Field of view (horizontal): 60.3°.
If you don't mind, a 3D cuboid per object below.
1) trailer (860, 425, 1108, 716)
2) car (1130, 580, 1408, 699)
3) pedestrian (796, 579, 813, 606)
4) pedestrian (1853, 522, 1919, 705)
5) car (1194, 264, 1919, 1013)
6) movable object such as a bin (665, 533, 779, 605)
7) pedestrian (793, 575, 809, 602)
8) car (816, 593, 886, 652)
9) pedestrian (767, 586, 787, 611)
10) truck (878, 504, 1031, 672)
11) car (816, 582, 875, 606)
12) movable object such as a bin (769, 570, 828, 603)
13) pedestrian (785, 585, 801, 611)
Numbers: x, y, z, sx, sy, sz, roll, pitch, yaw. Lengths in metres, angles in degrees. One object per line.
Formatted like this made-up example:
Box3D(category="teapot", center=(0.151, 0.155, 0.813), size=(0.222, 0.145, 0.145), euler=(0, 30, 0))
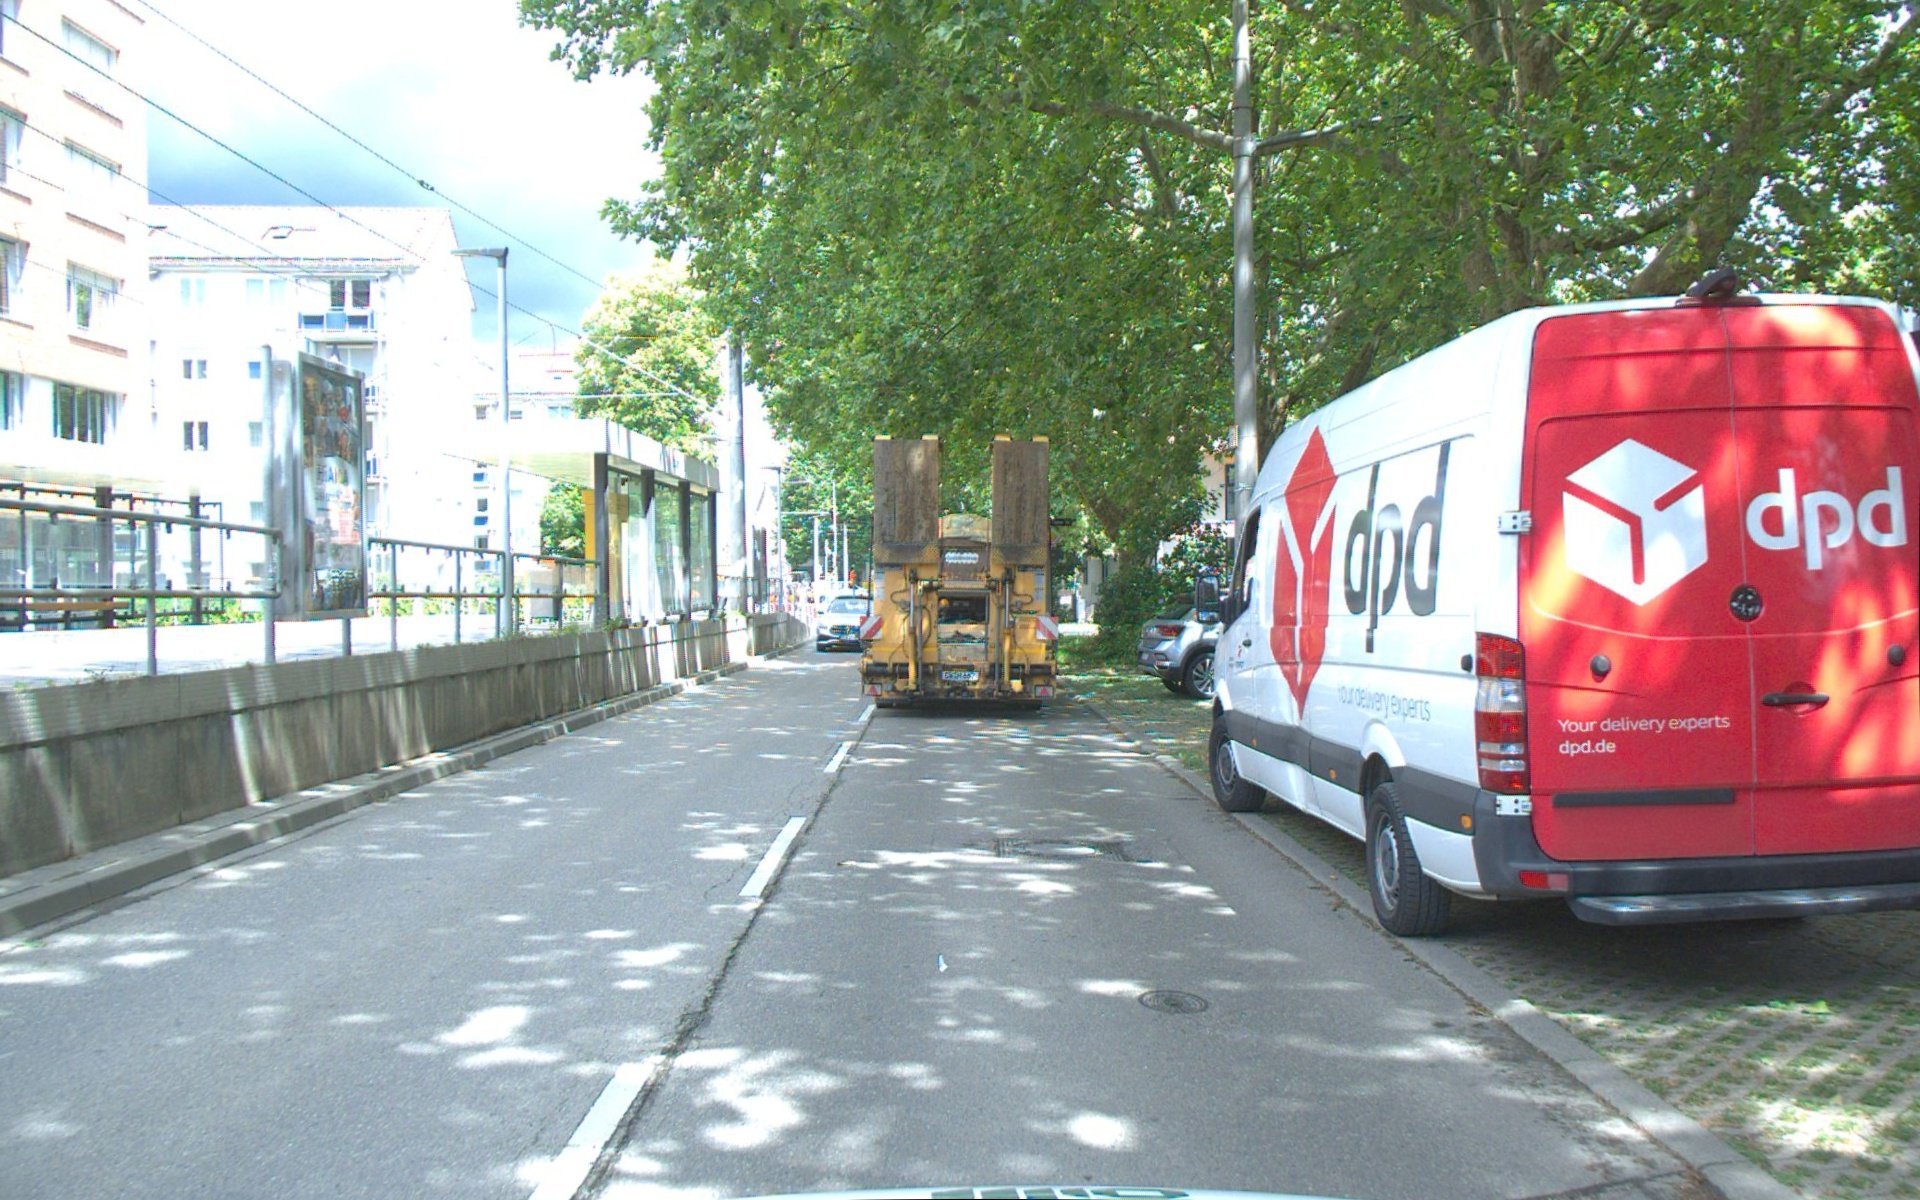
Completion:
Box3D(category="trailer", center=(0.082, -0.387, 26.233), size=(3.091, 3.615, 11.091), euler=(0, 0, -2))
Box3D(category="car", center=(4.583, 0.564, 24.780), size=(3.757, 1.589, 1.617), euler=(-2, 0, -8))
Box3D(category="pedestrian", center=(-11.287, -0.552, 119.906), size=(0.868, 1.900, 0.836), euler=(1, 0, 28))
Box3D(category="pedestrian", center=(9.713, 0.135, 16.847), size=(0.910, 1.832, 0.602), euler=(-2, -1, 44))
Box3D(category="car", center=(2.820, 0.116, 9.349), size=(1.866, 2.626, 6.833), euler=(-2, 0, -1))
Box3D(category="movable object such as a bin", center=(-18.872, -2.433, 130.902), size=(9.021, 5.509, 2.661), euler=(0, 0, 26))
Box3D(category="pedestrian", center=(-11.280, -0.804, 117.060), size=(0.876, 1.900, 0.829), euler=(0, 0, -29))
Box3D(category="car", center=(-2.988, 0.583, 46.113), size=(1.726, 1.507, 4.575), euler=(1, 0, -1))
Box3D(category="pedestrian", center=(-13.010, -0.101, 117.575), size=(0.873, 1.745, 1.102), euler=(1, 0, 45))
Box3D(category="truck", center=(-0.241, -0.247, 35.695), size=(2.929, 3.190, 7.884), euler=(0, 0, -2))
Box3D(category="car", center=(-10.250, -0.530, 147.671), size=(5.005, 2.139, 1.969), euler=(1, 1, -15))
Box3D(category="movable object such as a bin", center=(-13.215, -1.116, 135.569), size=(4.281, 2.675, 2.218), euler=(0, 0, 26))
Box3D(category="pedestrian", center=(-11.704, -0.159, 116.169), size=(0.867, 1.791, 0.838), euler=(1, 0, 17))
